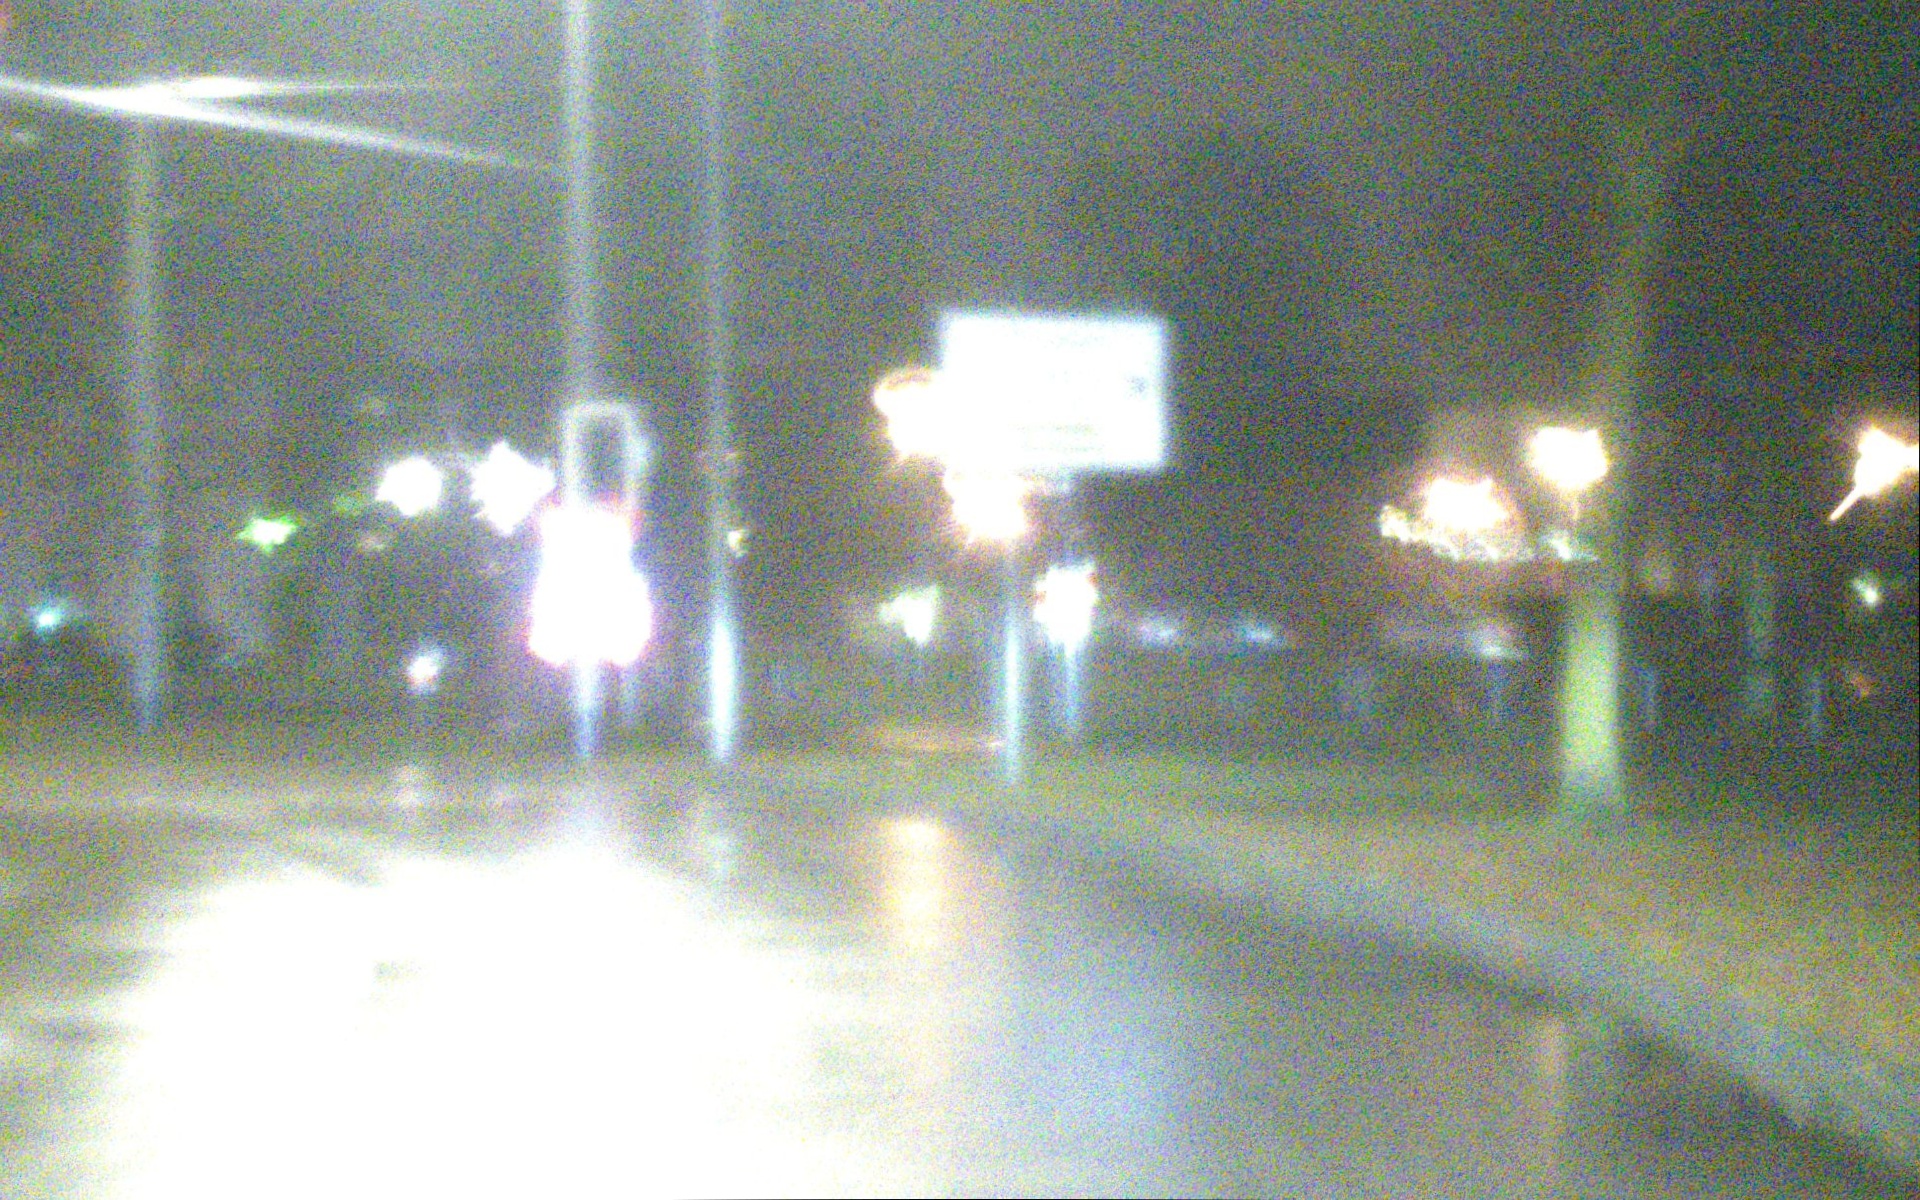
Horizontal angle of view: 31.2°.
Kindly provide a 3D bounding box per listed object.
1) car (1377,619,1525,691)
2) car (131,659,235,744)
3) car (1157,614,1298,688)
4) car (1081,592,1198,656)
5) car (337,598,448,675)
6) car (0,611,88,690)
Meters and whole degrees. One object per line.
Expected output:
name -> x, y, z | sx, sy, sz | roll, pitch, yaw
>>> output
car -> 10.663, 1.192, 74.852 | 1.716, 1.531, 3.913 | 1, -1, -16
car -> -15.281, 2.013, 67.497 | 1.716, 1.492, 3.912 | -1, -3, -17
car -> 5.719, 1.084, 73.889 | 1.716, 1.531, 3.913 | 1, -1, -16
car -> 4.434, 0.597, 85.471 | 1.716, 1.531, 3.913 | 1, -1, -16
car -> -11.413, 0.737, 68.975 | 1.716, 1.492, 3.913 | 1, -1, -16
car -> -18.074, 0.985, 67.463 | 1.716, 1.492, 3.913 | 1, -1, -16
